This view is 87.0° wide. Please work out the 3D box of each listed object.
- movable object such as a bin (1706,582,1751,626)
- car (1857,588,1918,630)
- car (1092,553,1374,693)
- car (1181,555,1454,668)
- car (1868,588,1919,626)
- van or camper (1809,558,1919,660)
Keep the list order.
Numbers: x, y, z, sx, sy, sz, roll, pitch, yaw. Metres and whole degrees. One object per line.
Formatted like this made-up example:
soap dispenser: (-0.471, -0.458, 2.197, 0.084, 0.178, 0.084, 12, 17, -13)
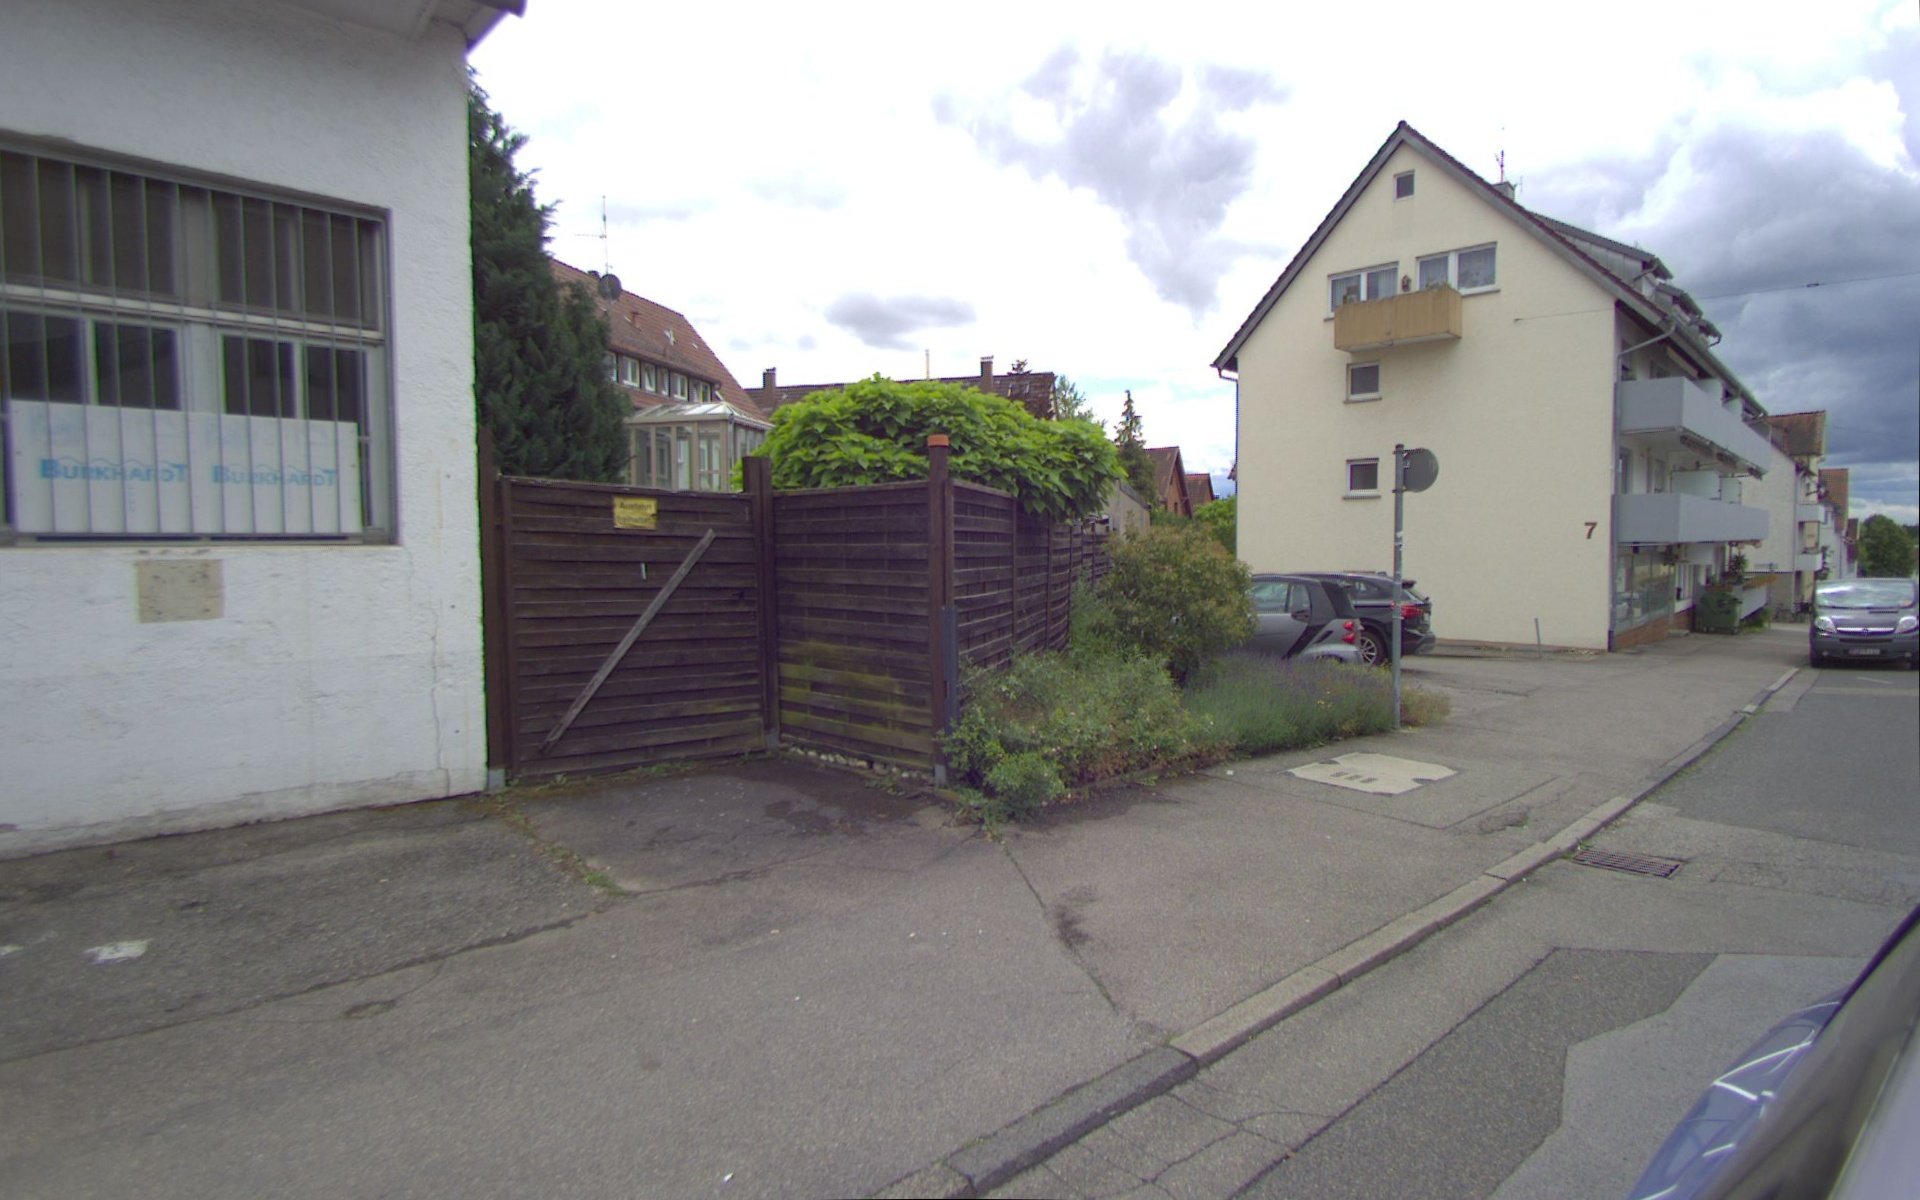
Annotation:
movable object such as a bin: (25.975, 0.116, 34.197, 1.079, 1.455, 1.240, -1, 0, 43)
car: (34.455, 0.306, 37.616, 1.608, 1.473, 3.263, 0, 1, 43)
car: (3.555, 0.213, 13.132, 3.288, 1.538, 1.690, 3, 2, 25)
car: (6.144, 0.110, 17.571, 4.100, 1.674, 1.880, 3, 2, 36)
car: (37.469, 0.271, 40.565, 1.580, 1.423, 3.543, 0, 1, 43)
van or camper: (20.433, 0.153, 22.628, 1.992, 2.039, 4.987, -1, 0, 42)
